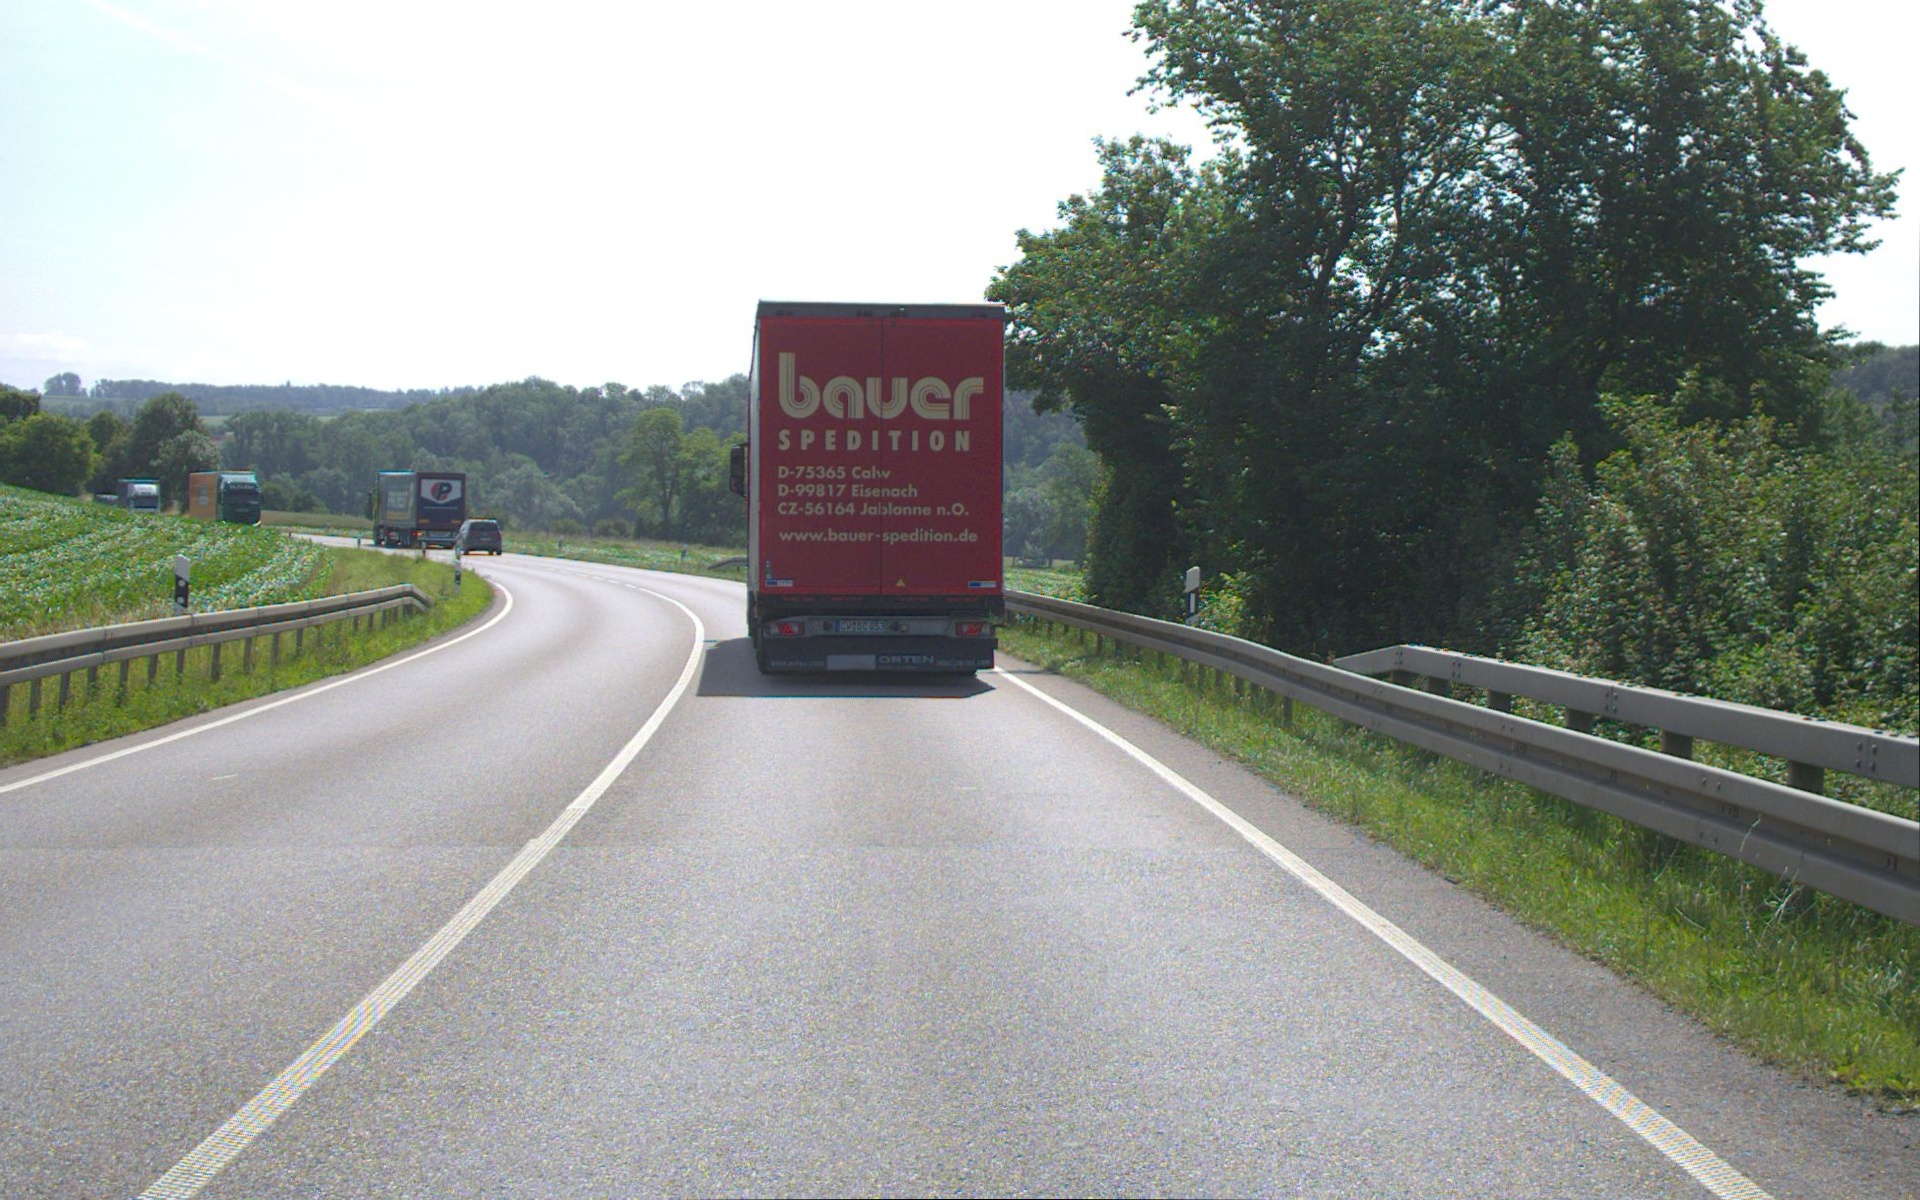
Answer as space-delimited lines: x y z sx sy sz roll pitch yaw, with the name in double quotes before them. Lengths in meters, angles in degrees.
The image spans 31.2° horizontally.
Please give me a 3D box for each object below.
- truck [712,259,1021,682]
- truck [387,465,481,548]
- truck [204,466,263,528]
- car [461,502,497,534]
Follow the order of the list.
"truck" -0.940 -1.387 38.851 3.094 4.248 8.315 0 1 0
"truck" -28.290 -4.936 184.410 3.639 4.277 11.989 0 1 -15
"truck" -48.720 -6.906 230.333 2.770 3.984 17.034 1 1 -16
"car" -22.655 -3.875 162.134 1.581 1.496 3.877 1 1 -7
